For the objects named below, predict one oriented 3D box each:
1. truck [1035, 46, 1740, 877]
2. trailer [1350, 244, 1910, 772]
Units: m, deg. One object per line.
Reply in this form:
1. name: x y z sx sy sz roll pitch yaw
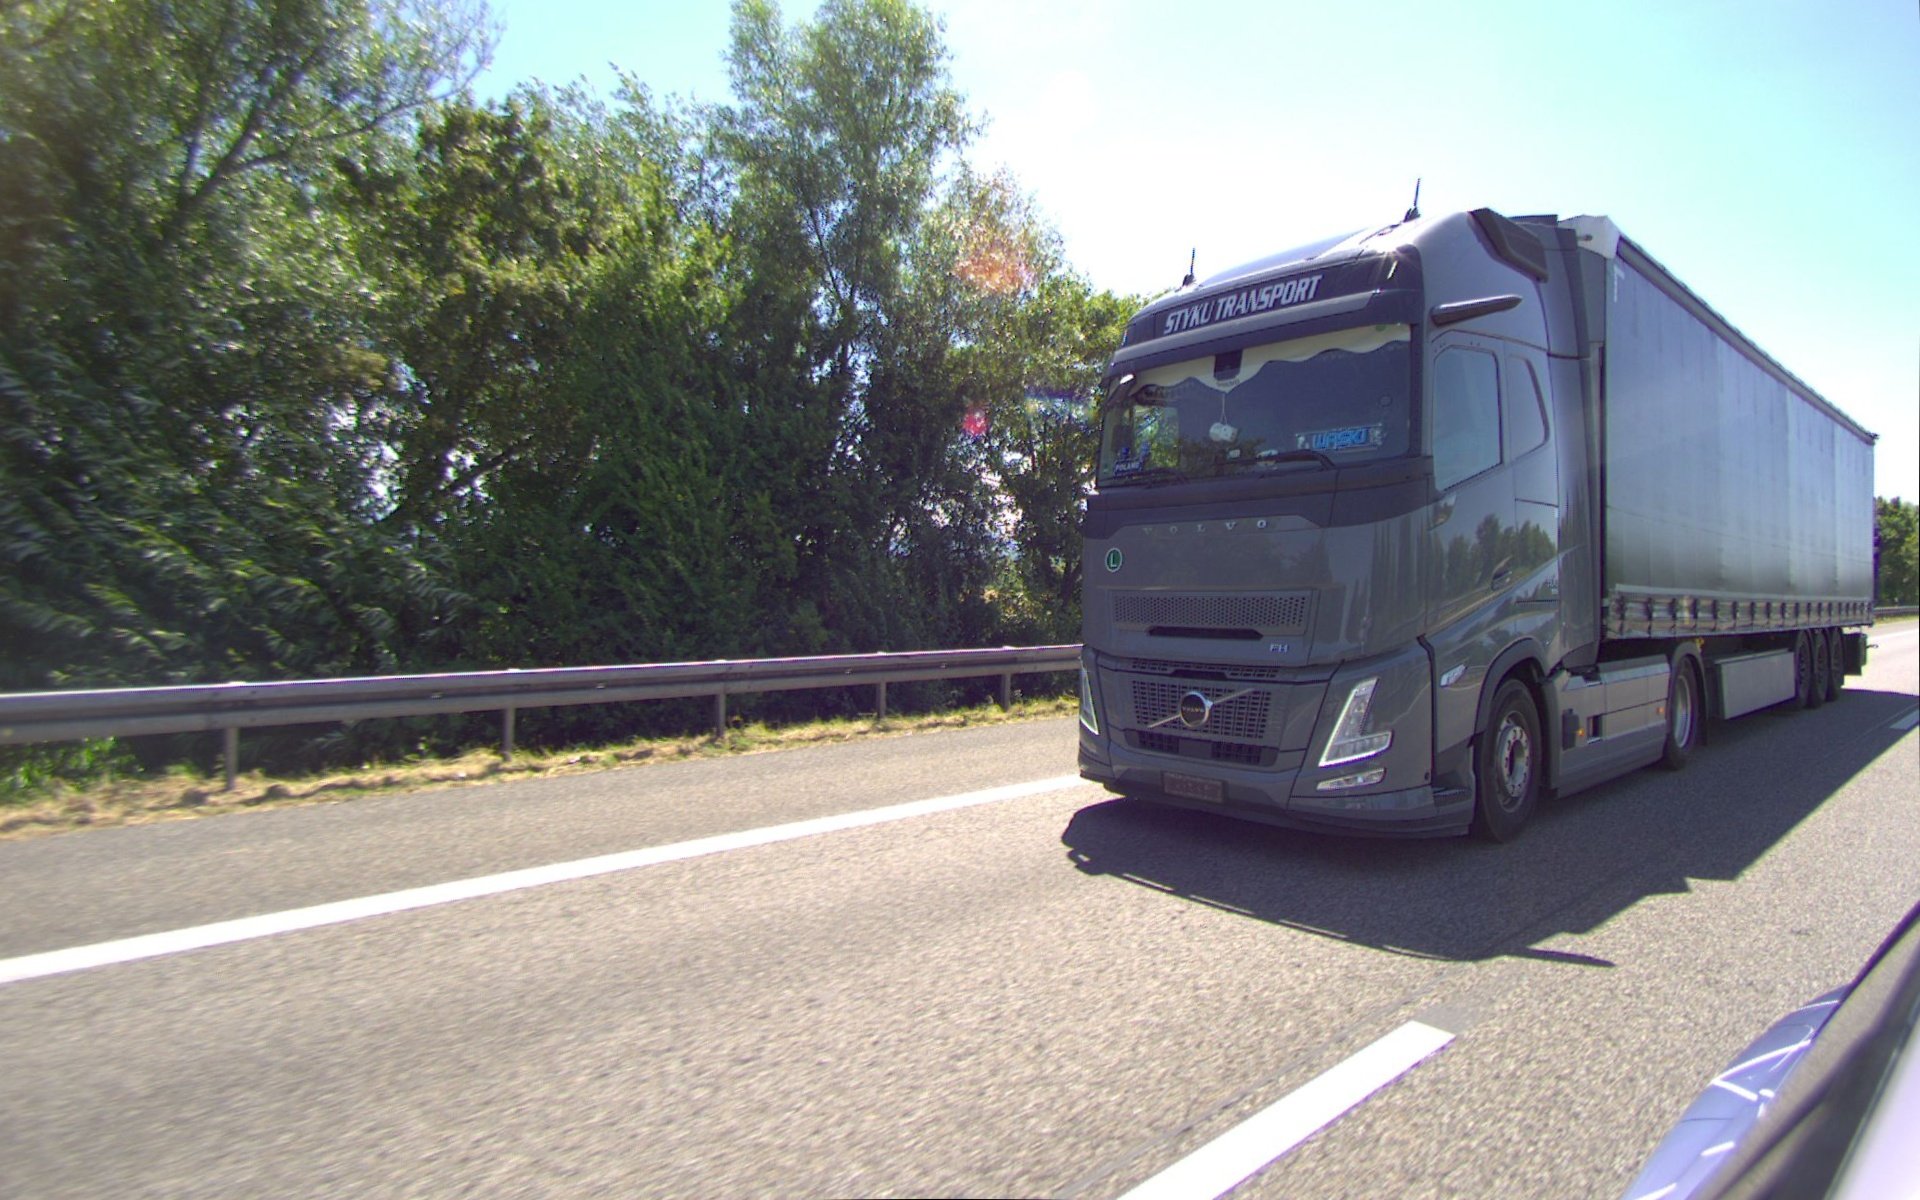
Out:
1. truck: 3.751 -0.702 7.958 6.400 4.004 2.557 0 1 -41
2. trailer: 9.564 -0.751 13.027 13.302 4.004 2.557 0 1 -41
